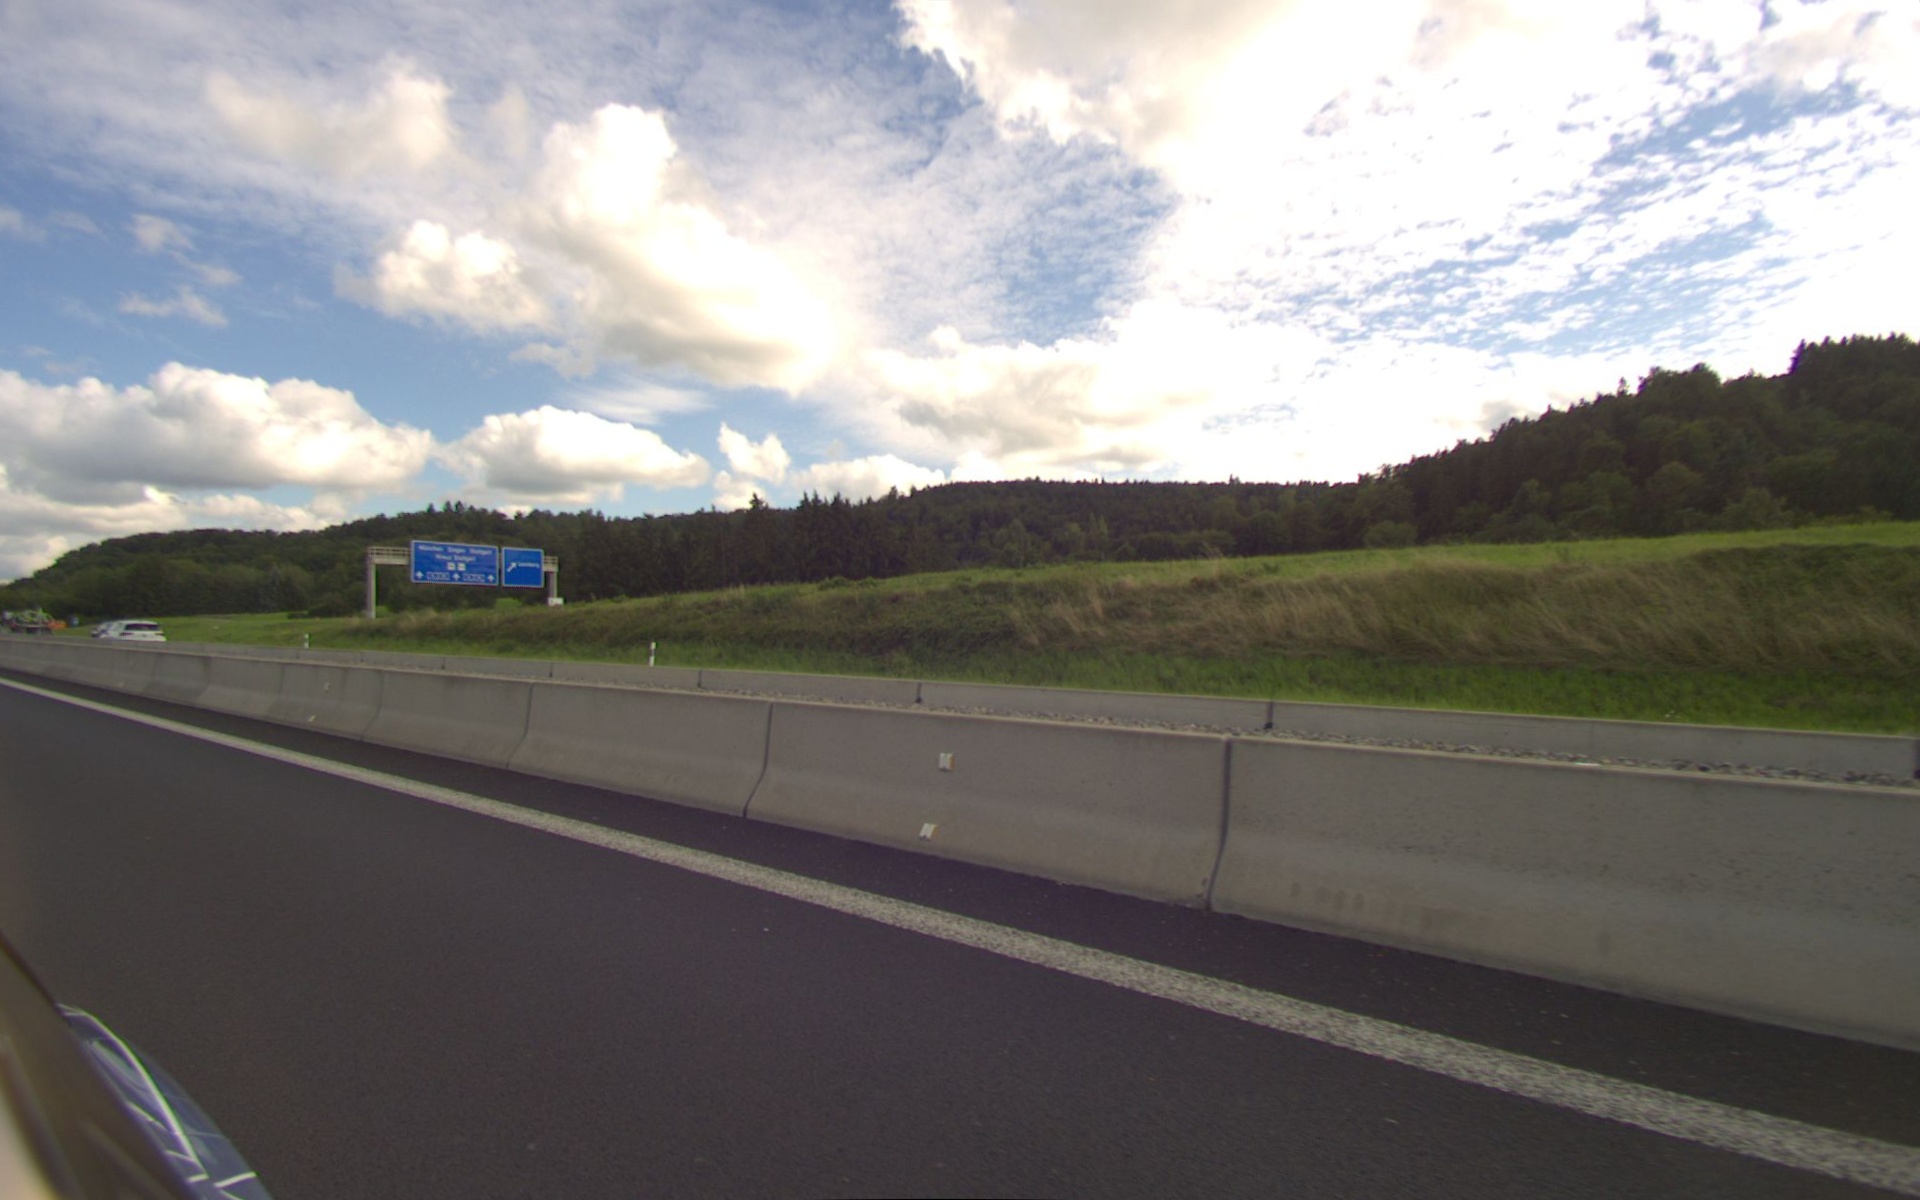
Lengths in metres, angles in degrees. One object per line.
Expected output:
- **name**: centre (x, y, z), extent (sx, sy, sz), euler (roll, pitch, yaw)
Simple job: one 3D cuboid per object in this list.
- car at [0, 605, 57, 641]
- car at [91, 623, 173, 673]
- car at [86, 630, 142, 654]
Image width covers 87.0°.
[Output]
- **car**: centre (-55.123, 1.343, 59.694), extent (5.838, 2.029, 1.973), euler (-1, -3, 41)
- **car**: centre (-35.886, 2.032, 43.817), extent (4.675, 2.029, 1.973), euler (-1, -2, 41)
- **car**: centre (-53.709, 2.650, 64.237), extent (4.689, 1.490, 1.973), euler (-1, -3, 41)
